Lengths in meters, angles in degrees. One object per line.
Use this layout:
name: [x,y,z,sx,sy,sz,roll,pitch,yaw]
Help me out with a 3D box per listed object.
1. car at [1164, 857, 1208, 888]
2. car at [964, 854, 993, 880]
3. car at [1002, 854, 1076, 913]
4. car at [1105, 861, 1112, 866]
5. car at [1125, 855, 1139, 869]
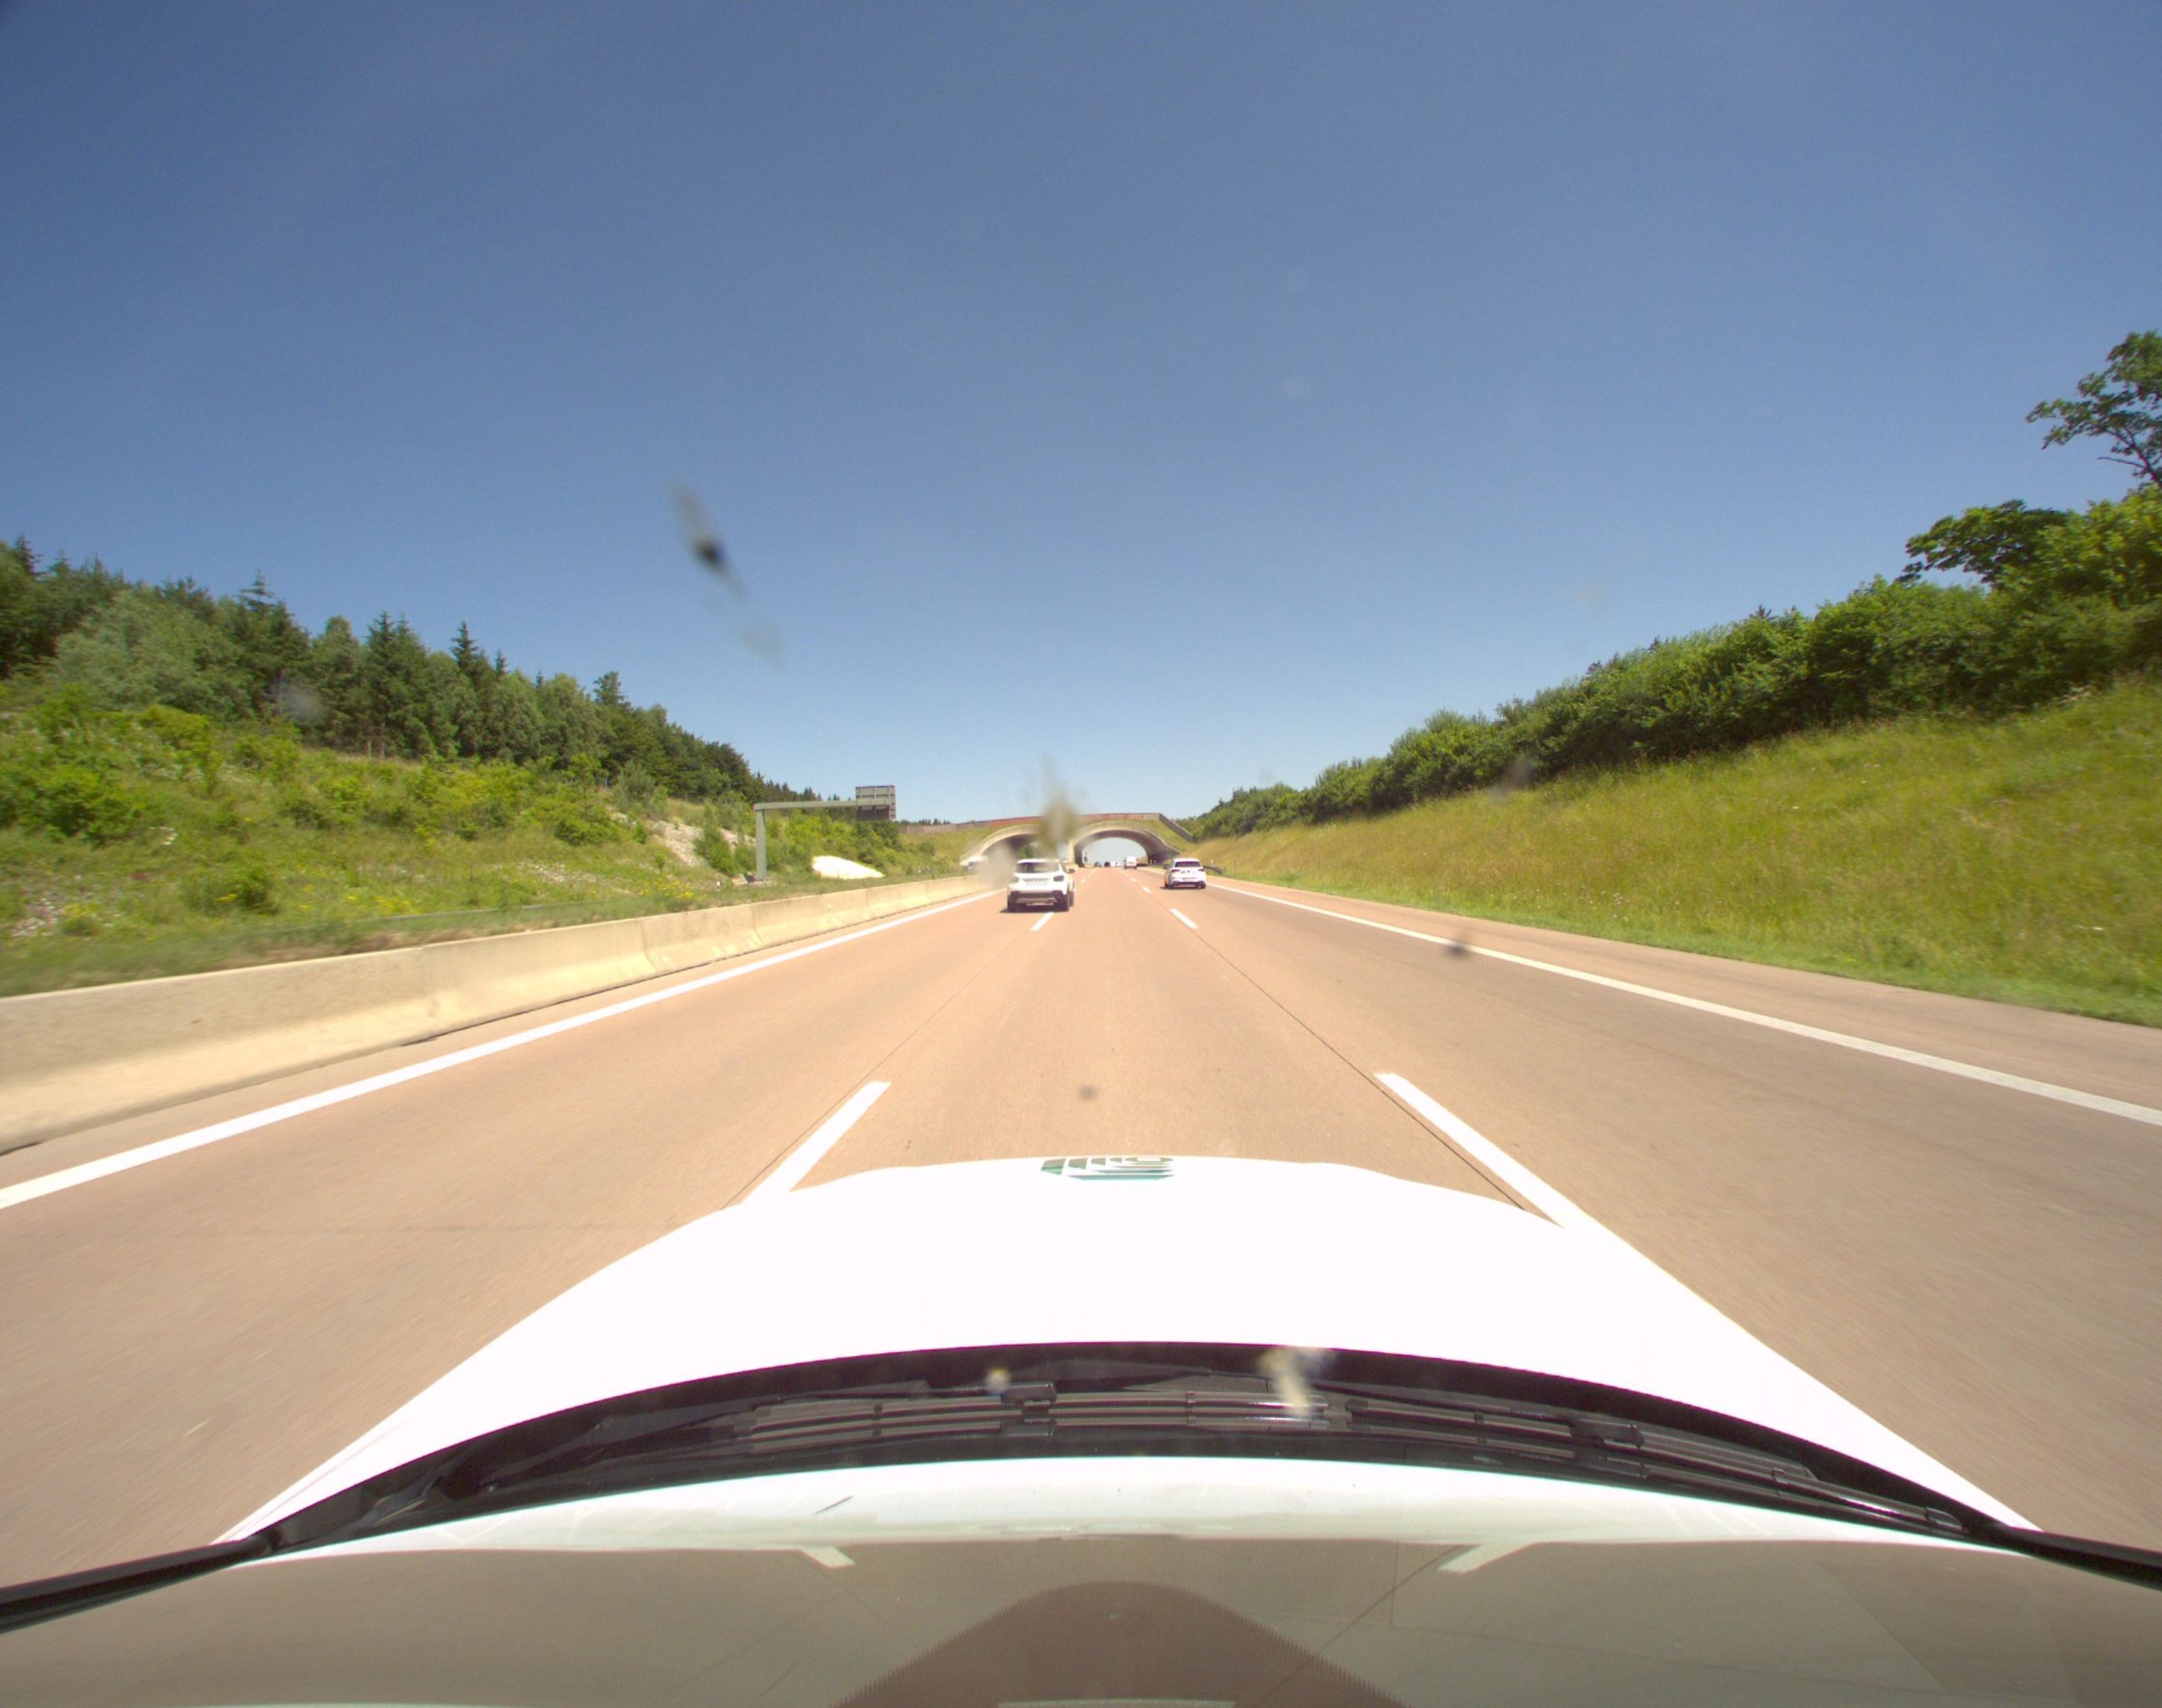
car: [5.072,0.867,39.673,1.882,1.398,4.004,0,0,4]
car: [-12.954,1.571,103.560,2.400,2.969,7.506,-1,1,2]
car: [-1.174,0.826,25.013,1.872,1.607,4.836,-1,0,2]
car: [8.089,2.912,240.788,1.883,1.463,4.002,0,0,2]
car: [7.817,1.266,125.542,2.101,2.053,4.004,-1,1,4]
